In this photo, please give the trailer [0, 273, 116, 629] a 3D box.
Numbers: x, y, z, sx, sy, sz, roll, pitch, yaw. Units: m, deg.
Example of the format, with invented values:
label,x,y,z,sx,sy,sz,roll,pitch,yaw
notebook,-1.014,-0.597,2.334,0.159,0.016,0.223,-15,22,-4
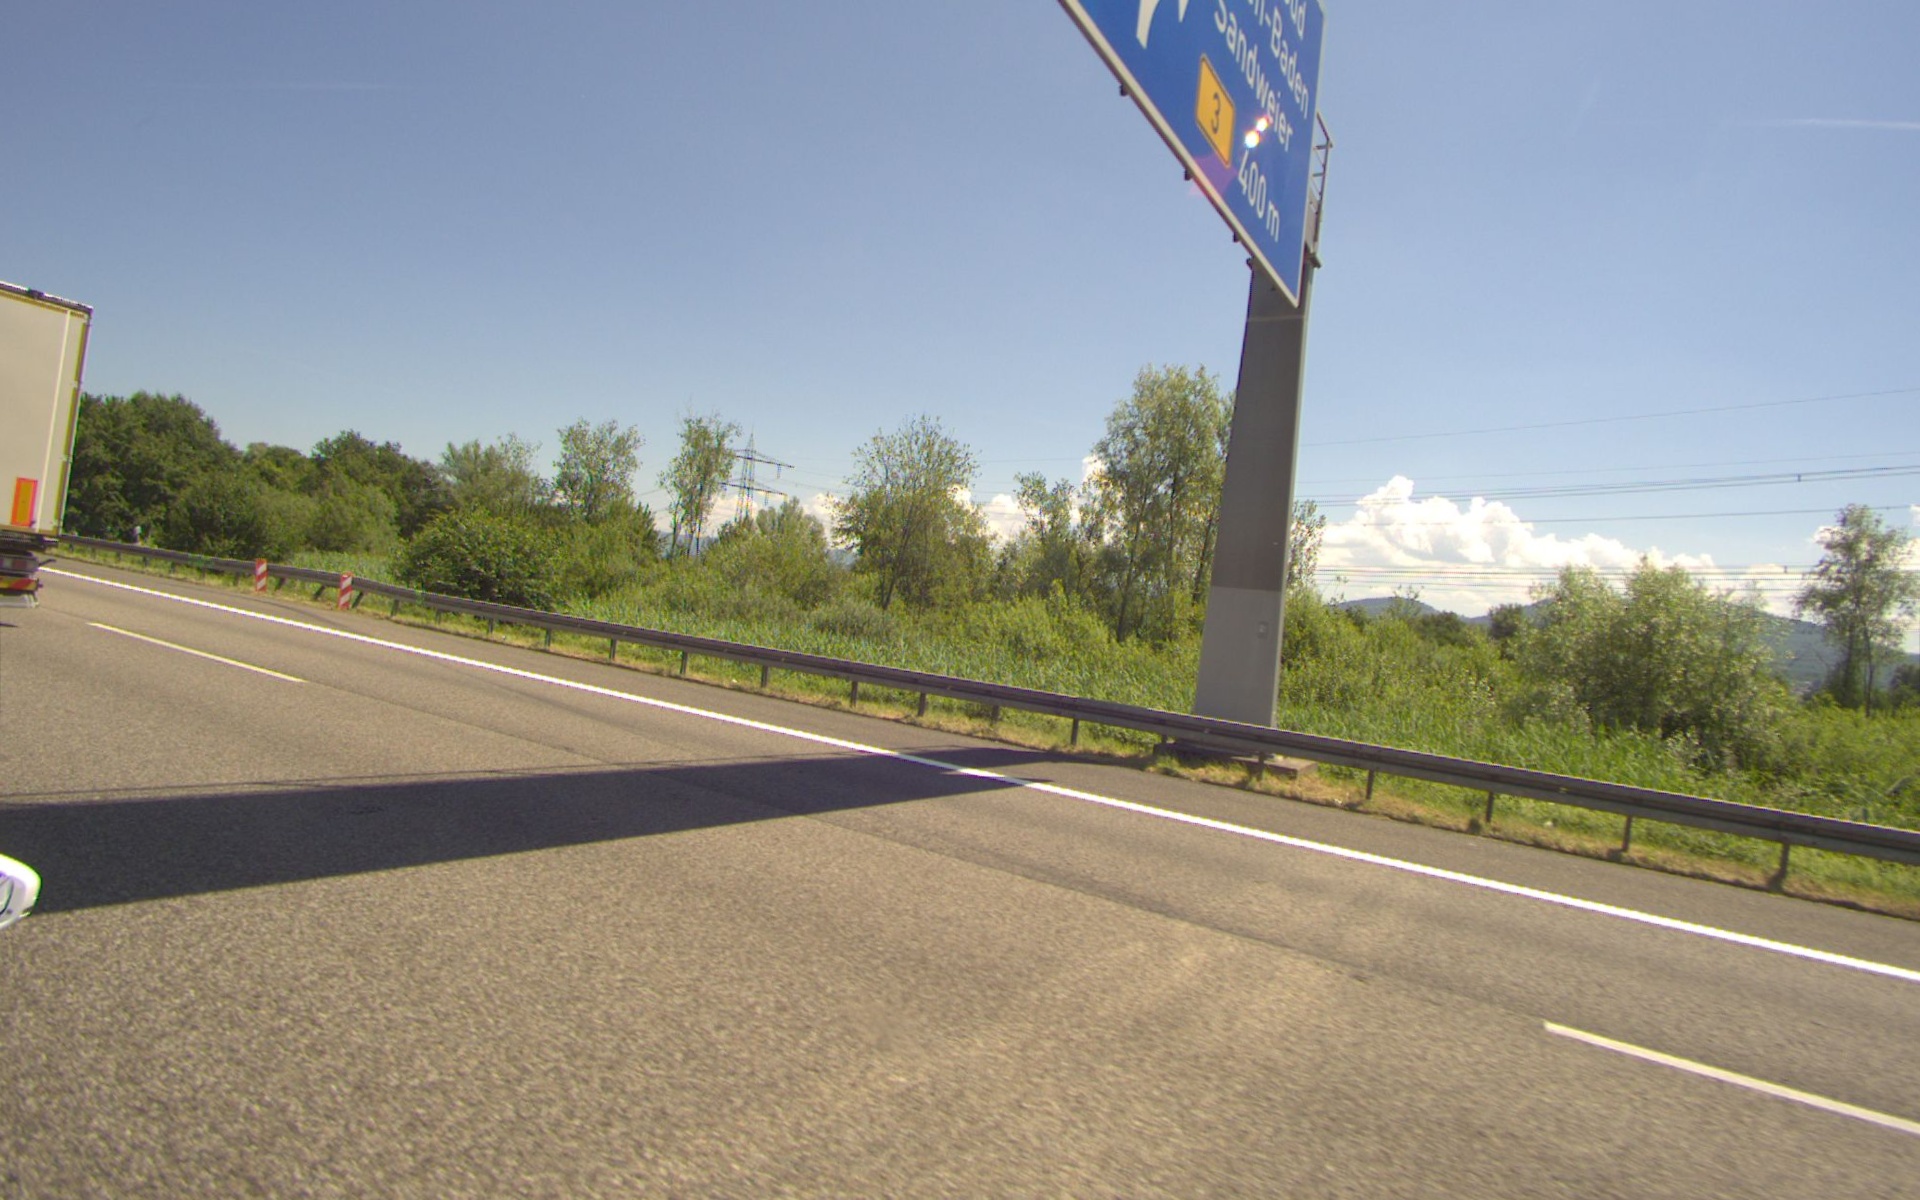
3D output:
label,x,y,z,sx,sy,sz,roll,pitch,yaw
trailer,-16.767,-2.380,14.642,12.358,4.083,2.799,6,-1,31
